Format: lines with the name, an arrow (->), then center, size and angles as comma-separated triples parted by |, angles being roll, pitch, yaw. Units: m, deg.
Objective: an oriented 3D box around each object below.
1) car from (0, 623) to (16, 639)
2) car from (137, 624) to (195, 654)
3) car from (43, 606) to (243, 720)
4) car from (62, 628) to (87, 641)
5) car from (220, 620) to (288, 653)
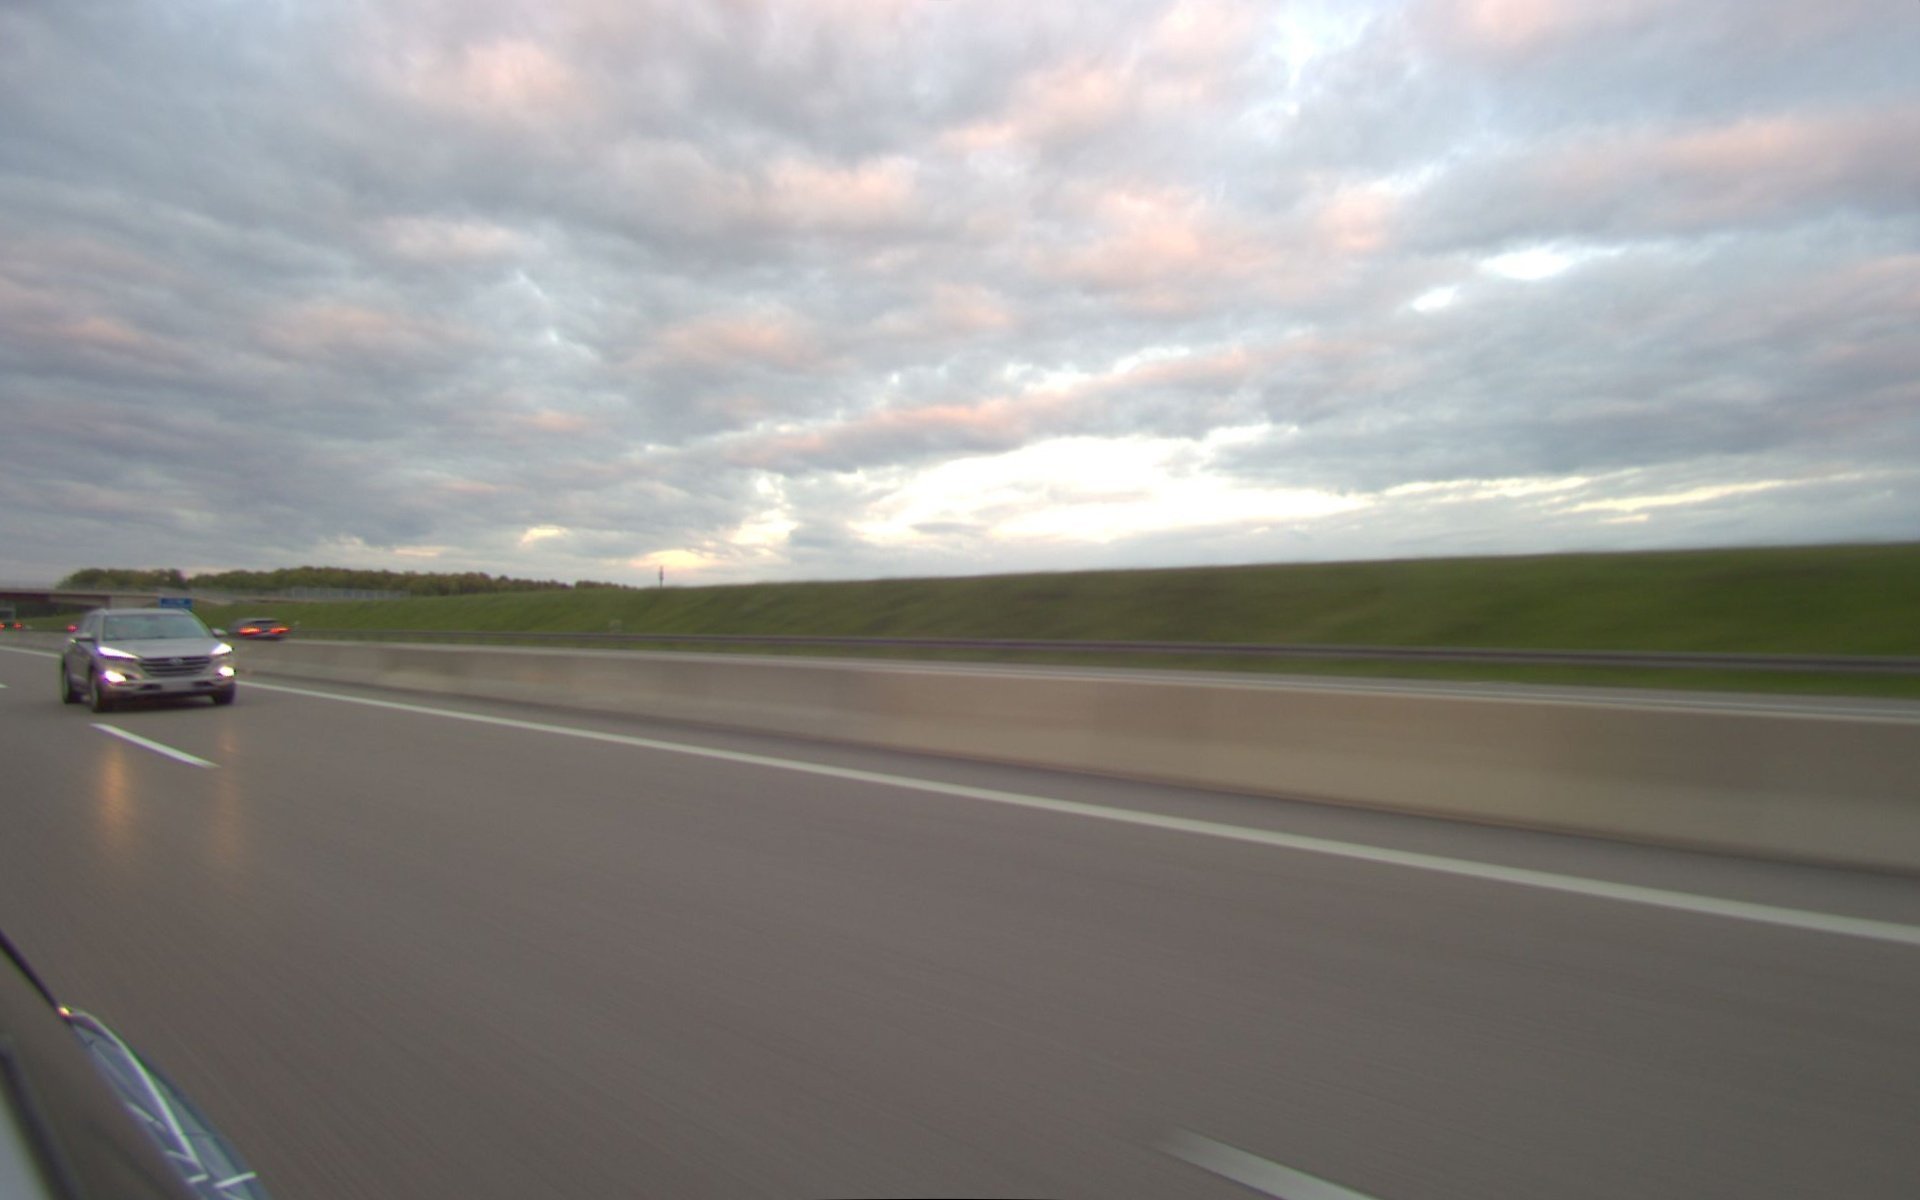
car -> -126.858, 4.109, 134.172 | 5.734, 2.029, 1.982 | -2, -2, 41
car -> -43.154, 2.094, 54.980 | 4.128, 1.510, 1.720 | -1, -2, 41
car -> -14.327, 0.983, 17.608 | 5.510, 1.705, 1.833 | -1, -1, 42
car -> -104.966, 4.072, 119.947 | 4.424, 1.529, 1.614 | -2, -1, 41
car -> -40.196, 2.043, 57.566 | 5.019, 1.824, 2.077 | -1, -2, 41
